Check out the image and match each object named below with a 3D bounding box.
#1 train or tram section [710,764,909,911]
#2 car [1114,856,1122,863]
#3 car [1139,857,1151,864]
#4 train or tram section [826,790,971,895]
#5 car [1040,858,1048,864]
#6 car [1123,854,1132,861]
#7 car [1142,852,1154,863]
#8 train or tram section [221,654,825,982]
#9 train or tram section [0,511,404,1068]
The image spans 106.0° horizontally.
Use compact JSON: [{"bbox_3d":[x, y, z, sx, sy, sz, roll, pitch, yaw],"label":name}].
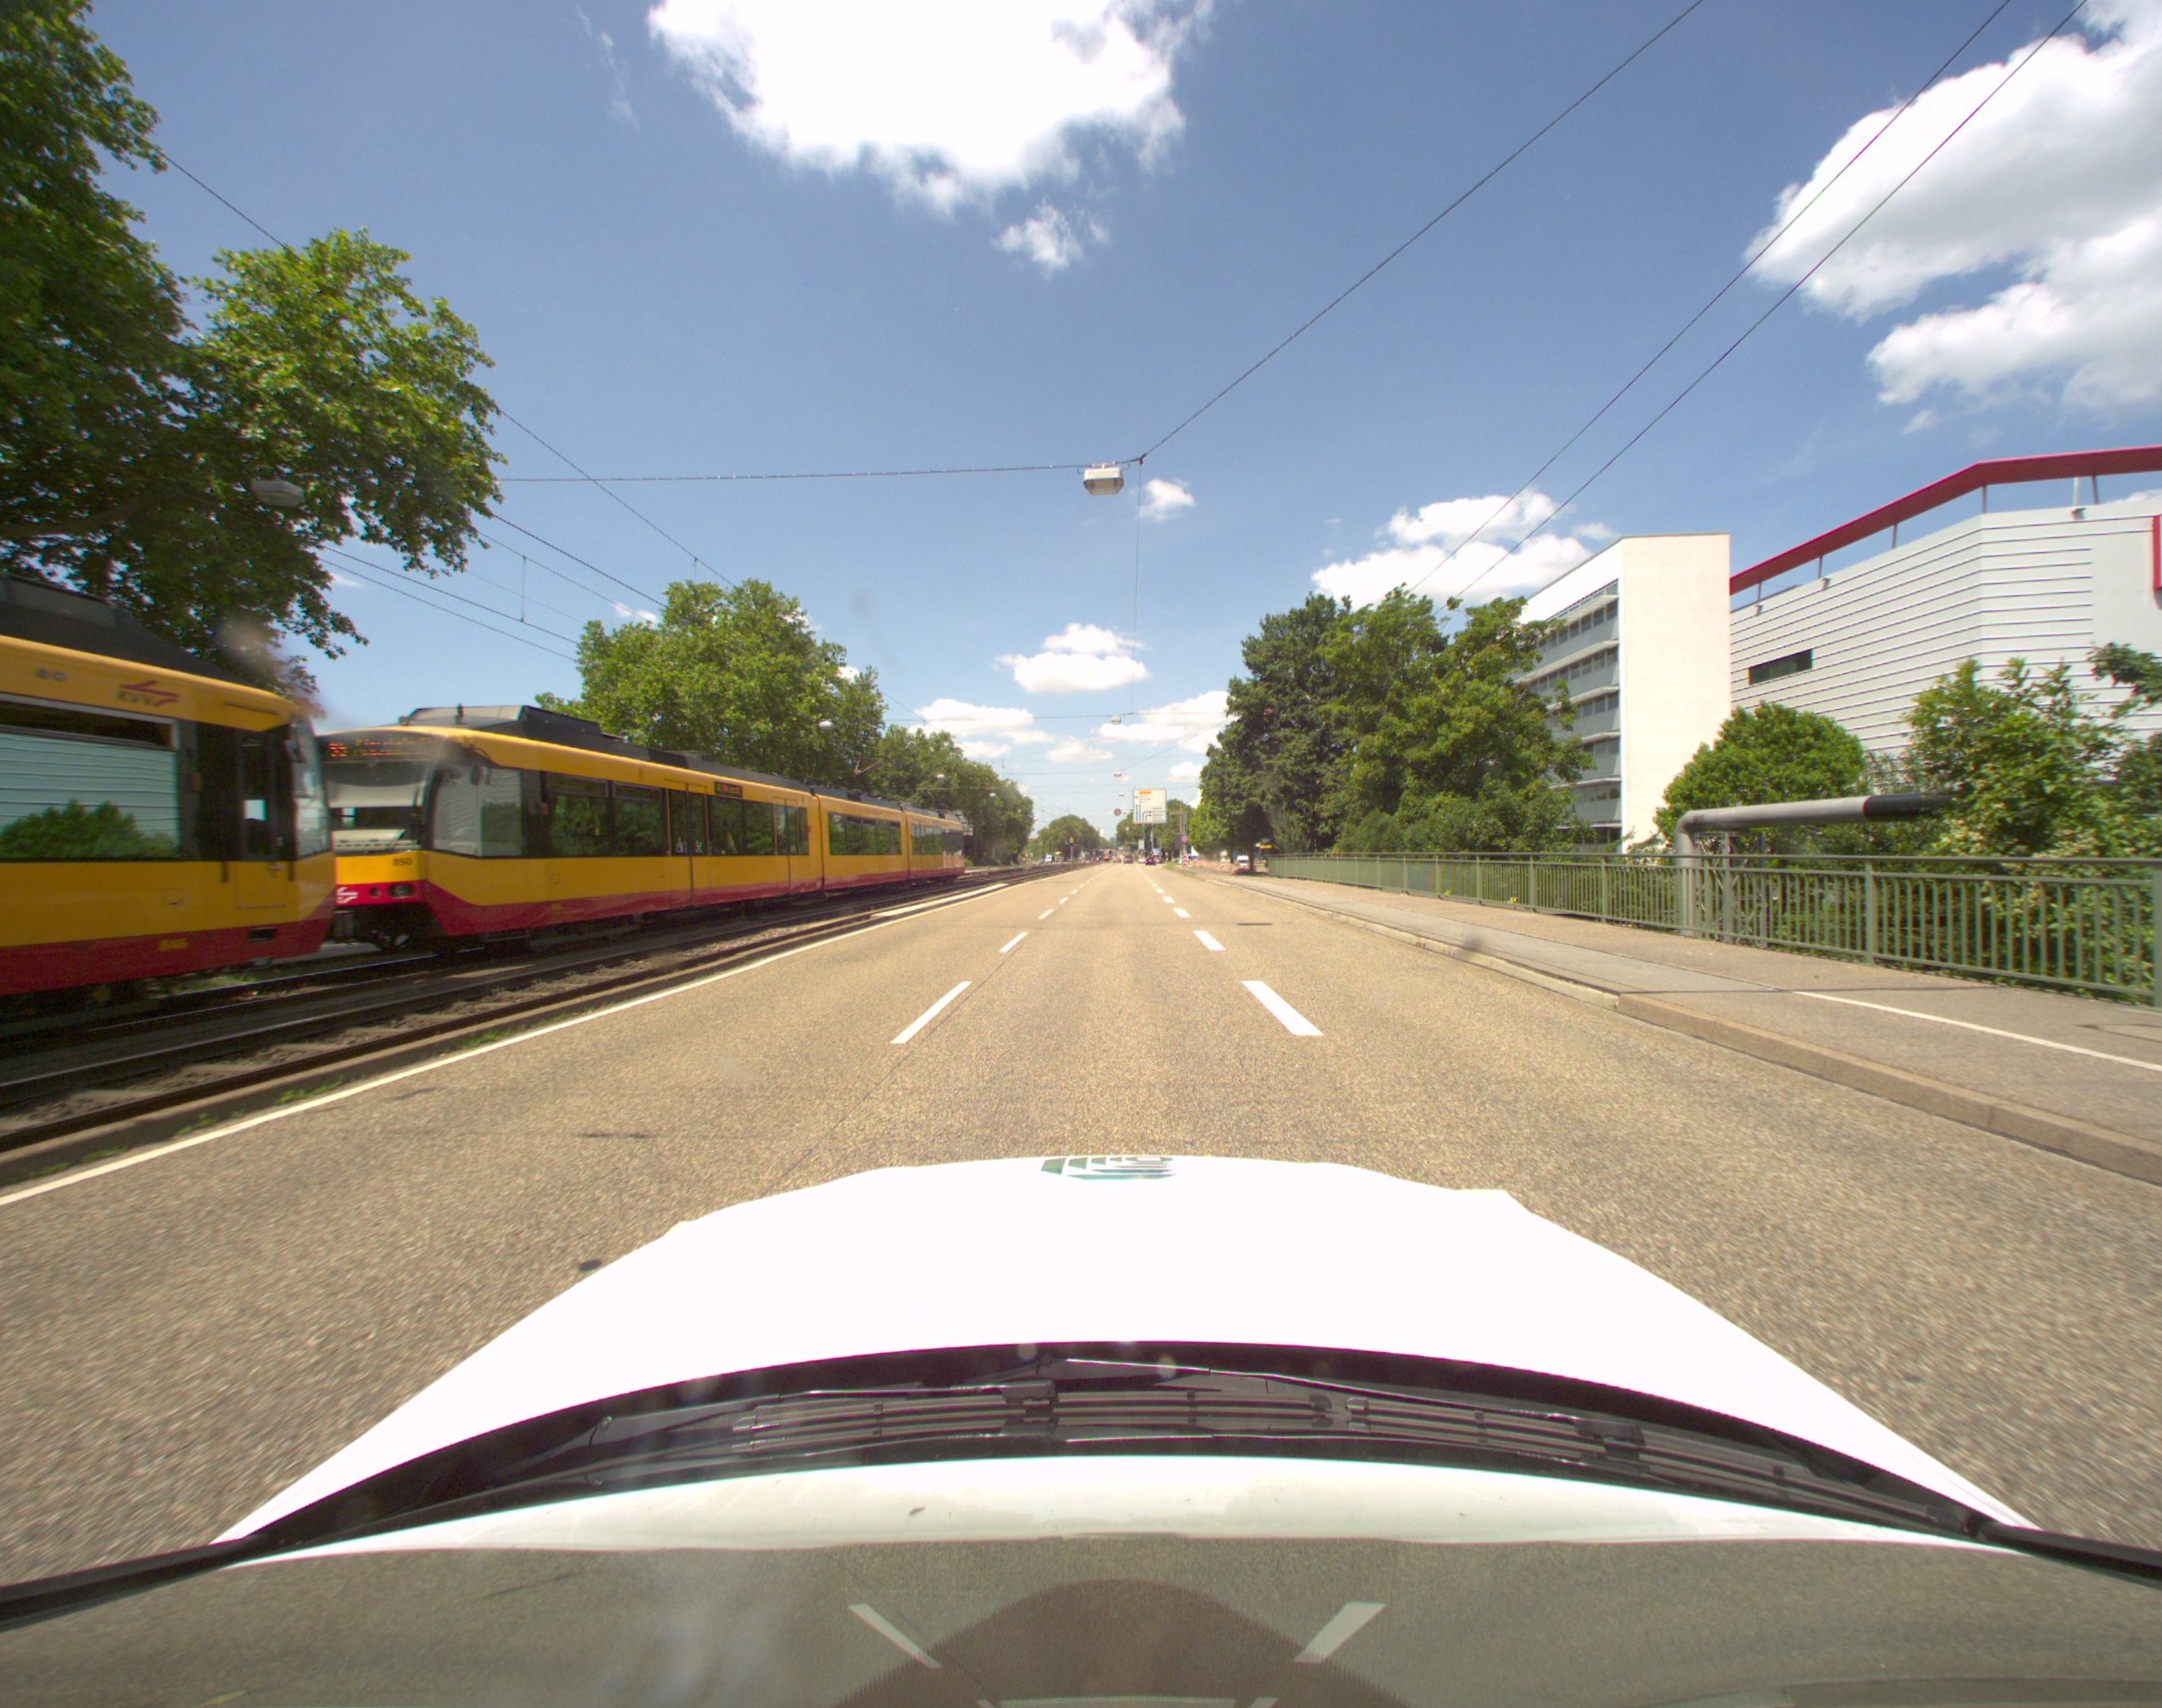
[{"bbox_3d":[-8.873,-0.480,28.480,3.025,4.148,10.240,-1,0,3],"label":"train or tram section"},{"bbox_3d":[9.580,1.439,211.187,1.836,1.550,3.777,1,0,1],"label":"car"},{"bbox_3d":[16.745,1.719,212.665,1.670,1.550,4.007,1,0,26],"label":"car"},{"bbox_3d":[-8.255,-0.477,39.602,3.025,4.140,13.994,-1,0,3],"label":"train or tram section"},{"bbox_3d":[-9.537,1.699,208.313,1.638,1.550,4.218,1,0,1],"label":"car"},{"bbox_3d":[10.339,0.858,181.058,1.868,1.539,3.779,1,0,2],"label":"car"},{"bbox_3d":[11.541,0.575,140.921,1.892,1.805,3.978,1,0,2],"label":"car"},{"bbox_3d":[-9.342,-0.466,17.250,3.026,4.154,13.488,-1,0,2],"label":"train or tram section"},{"bbox_3d":[-9.910,-0.463,2.753,3.036,4.267,14.043,-1,0,2],"label":"train or tram section"}]
